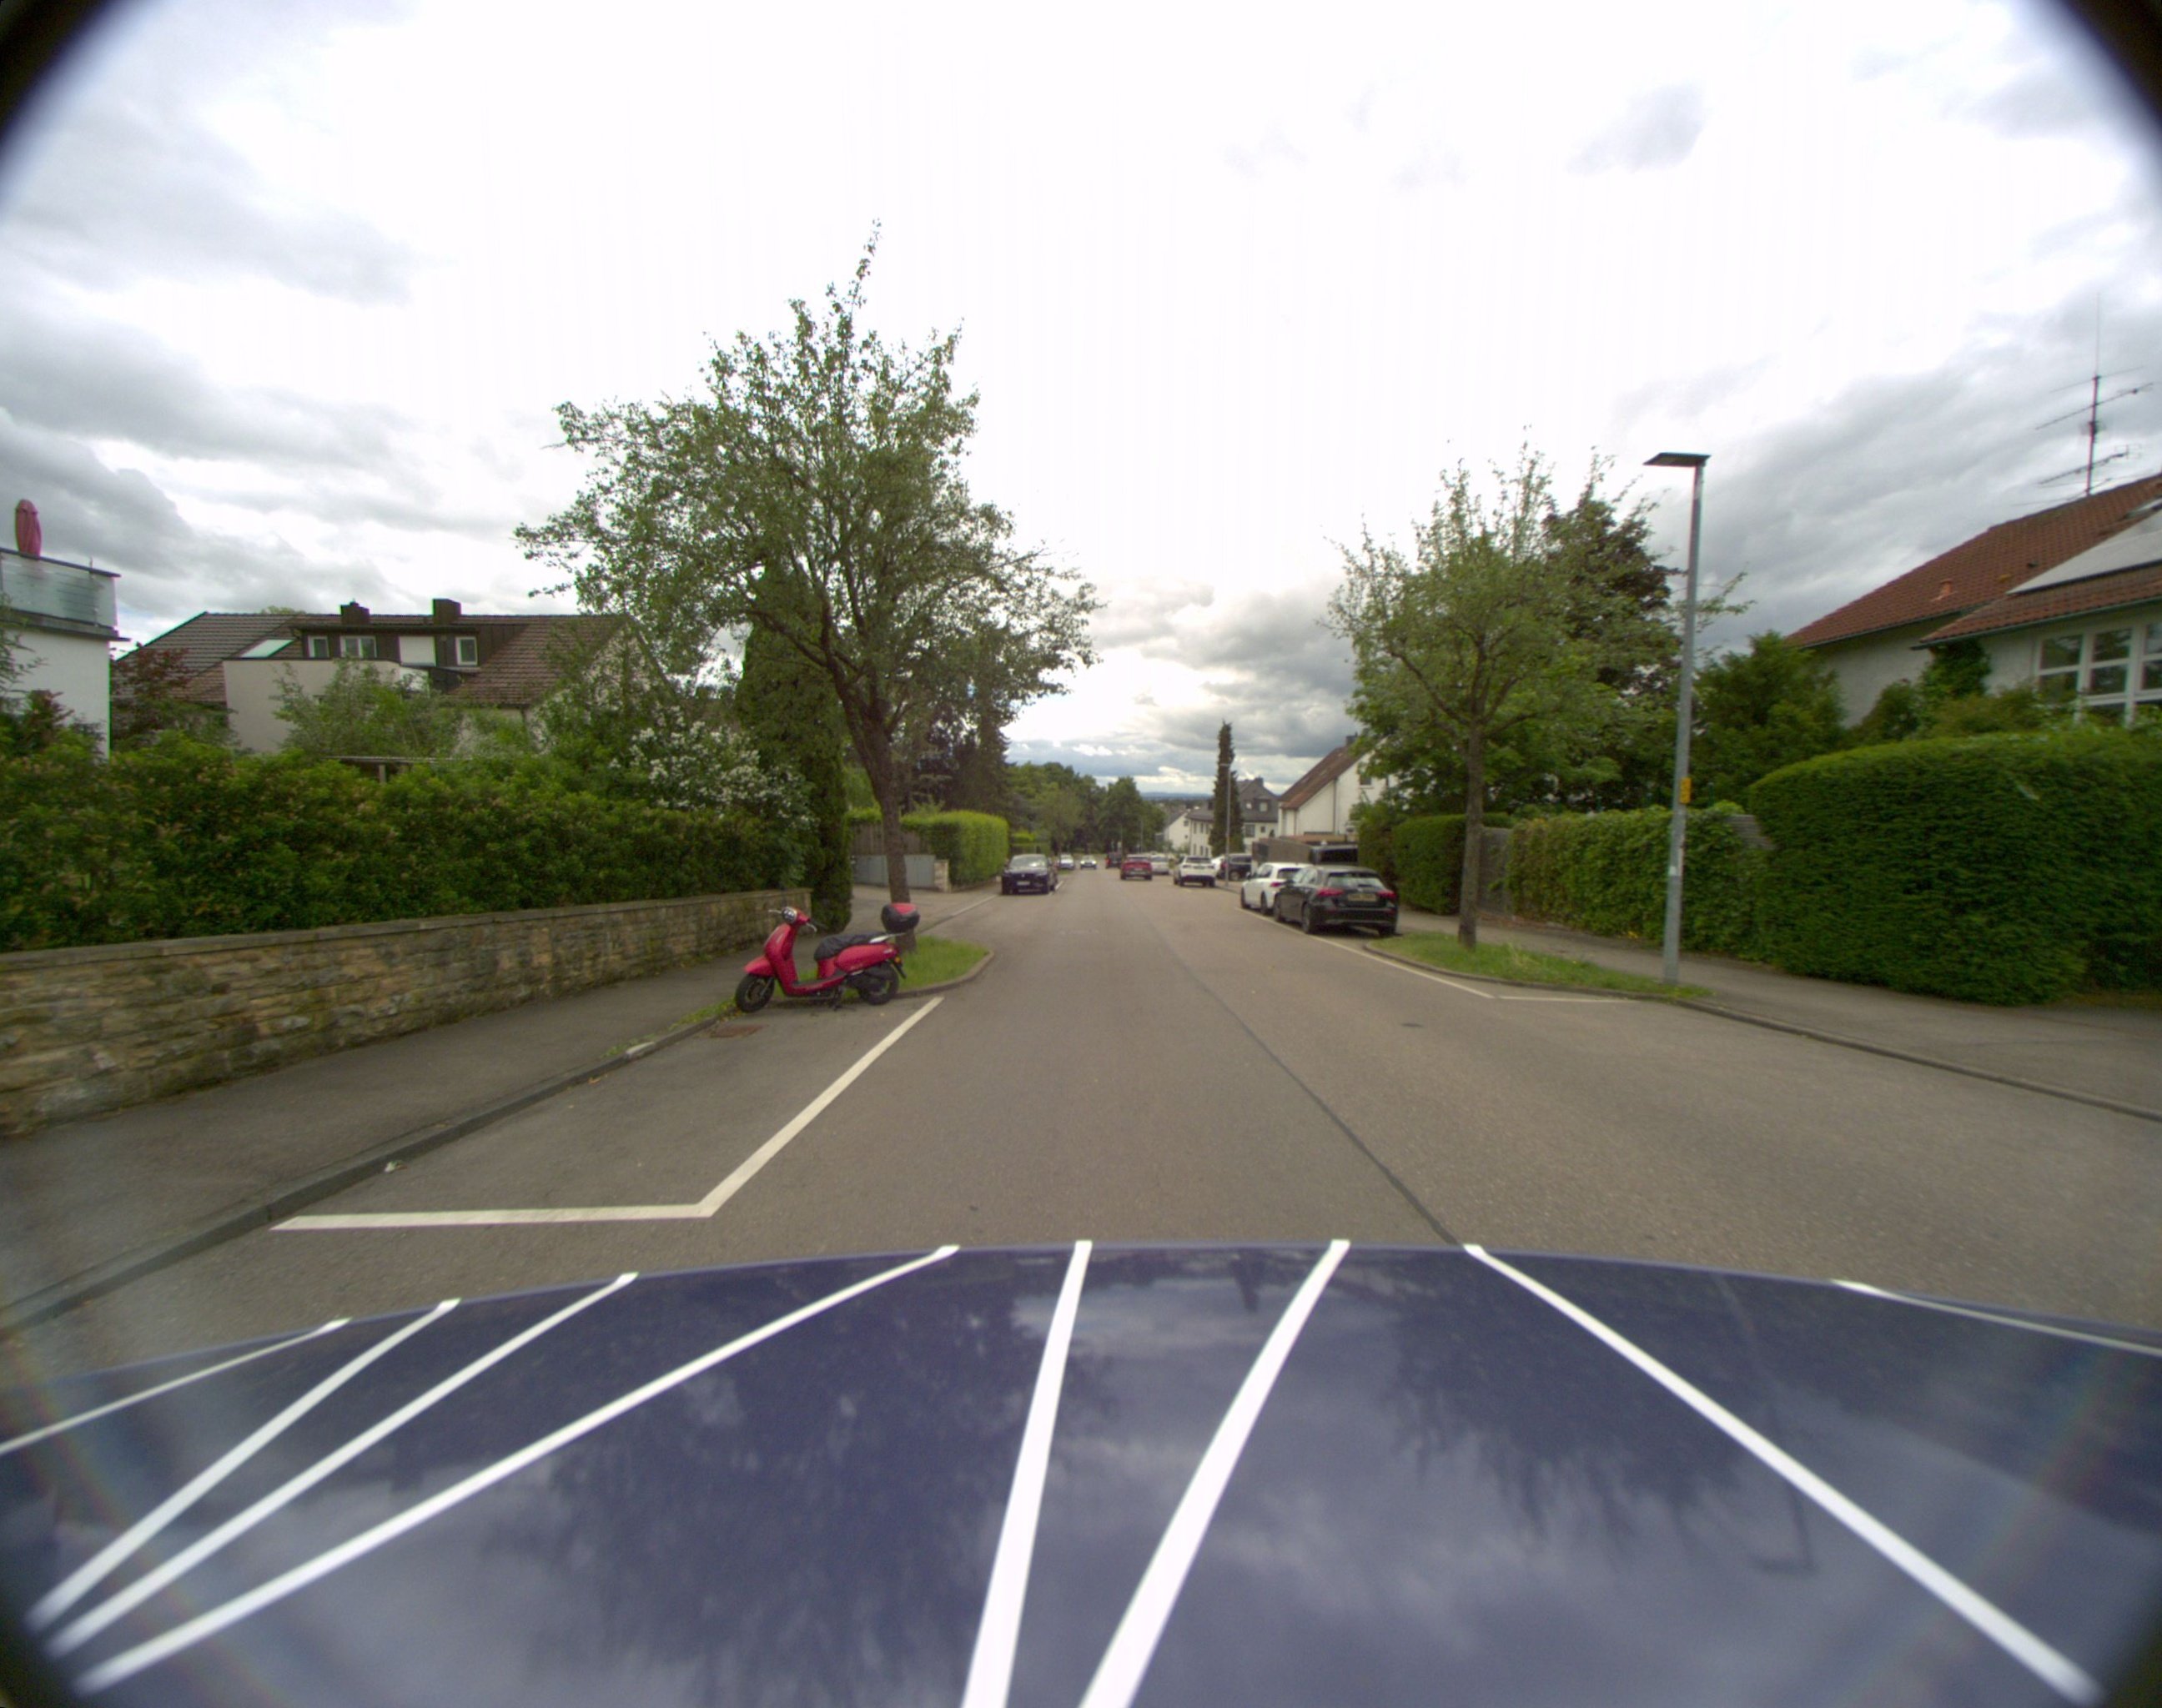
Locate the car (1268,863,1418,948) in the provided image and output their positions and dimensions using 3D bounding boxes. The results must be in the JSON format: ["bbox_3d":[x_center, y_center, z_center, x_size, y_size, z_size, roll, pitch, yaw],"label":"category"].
[{"bbox_3d":[5.553,1.021,16.675,1.944,1.540,4.005,1,0,1],"label":"car"}]

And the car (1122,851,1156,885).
[{"bbox_3d":[3.688,0.848,48.689,1.872,2.002,3.999,-2,1,1],"label":"car"}]

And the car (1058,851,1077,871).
[{"bbox_3d":[-1.410,0.697,79.874,1.746,2.002,4.000,-2,1,2],"label":"car"}]

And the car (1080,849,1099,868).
[{"bbox_3d":[0.911,0.484,83.795,1.999,2.002,3.999,-2,1,-1],"label":"car"}]

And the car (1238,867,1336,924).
[{"bbox_3d":[5.704,1.102,21.504,1.725,1.368,4.000,1,0,1],"label":"car"}]

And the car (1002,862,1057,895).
[{"bbox_3d":[-2.079,0.989,31.962,1.998,1.221,3.999,0,1,1],"label":"car"}]

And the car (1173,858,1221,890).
[{"bbox_3d":[6.021,1.013,39.820,1.935,1.521,4.000,1,0,1],"label":"car"}]

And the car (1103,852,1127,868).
[{"bbox_3d":[3.855,0.656,86.771,2.000,1.712,3.997,-2,1,-8],"label":"car"}]

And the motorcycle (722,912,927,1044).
[{"bbox_3d":[-2.653,1.230,7.917,1.942,1.127,0.658,0,1,-26],"label":"motorcycle"}]
